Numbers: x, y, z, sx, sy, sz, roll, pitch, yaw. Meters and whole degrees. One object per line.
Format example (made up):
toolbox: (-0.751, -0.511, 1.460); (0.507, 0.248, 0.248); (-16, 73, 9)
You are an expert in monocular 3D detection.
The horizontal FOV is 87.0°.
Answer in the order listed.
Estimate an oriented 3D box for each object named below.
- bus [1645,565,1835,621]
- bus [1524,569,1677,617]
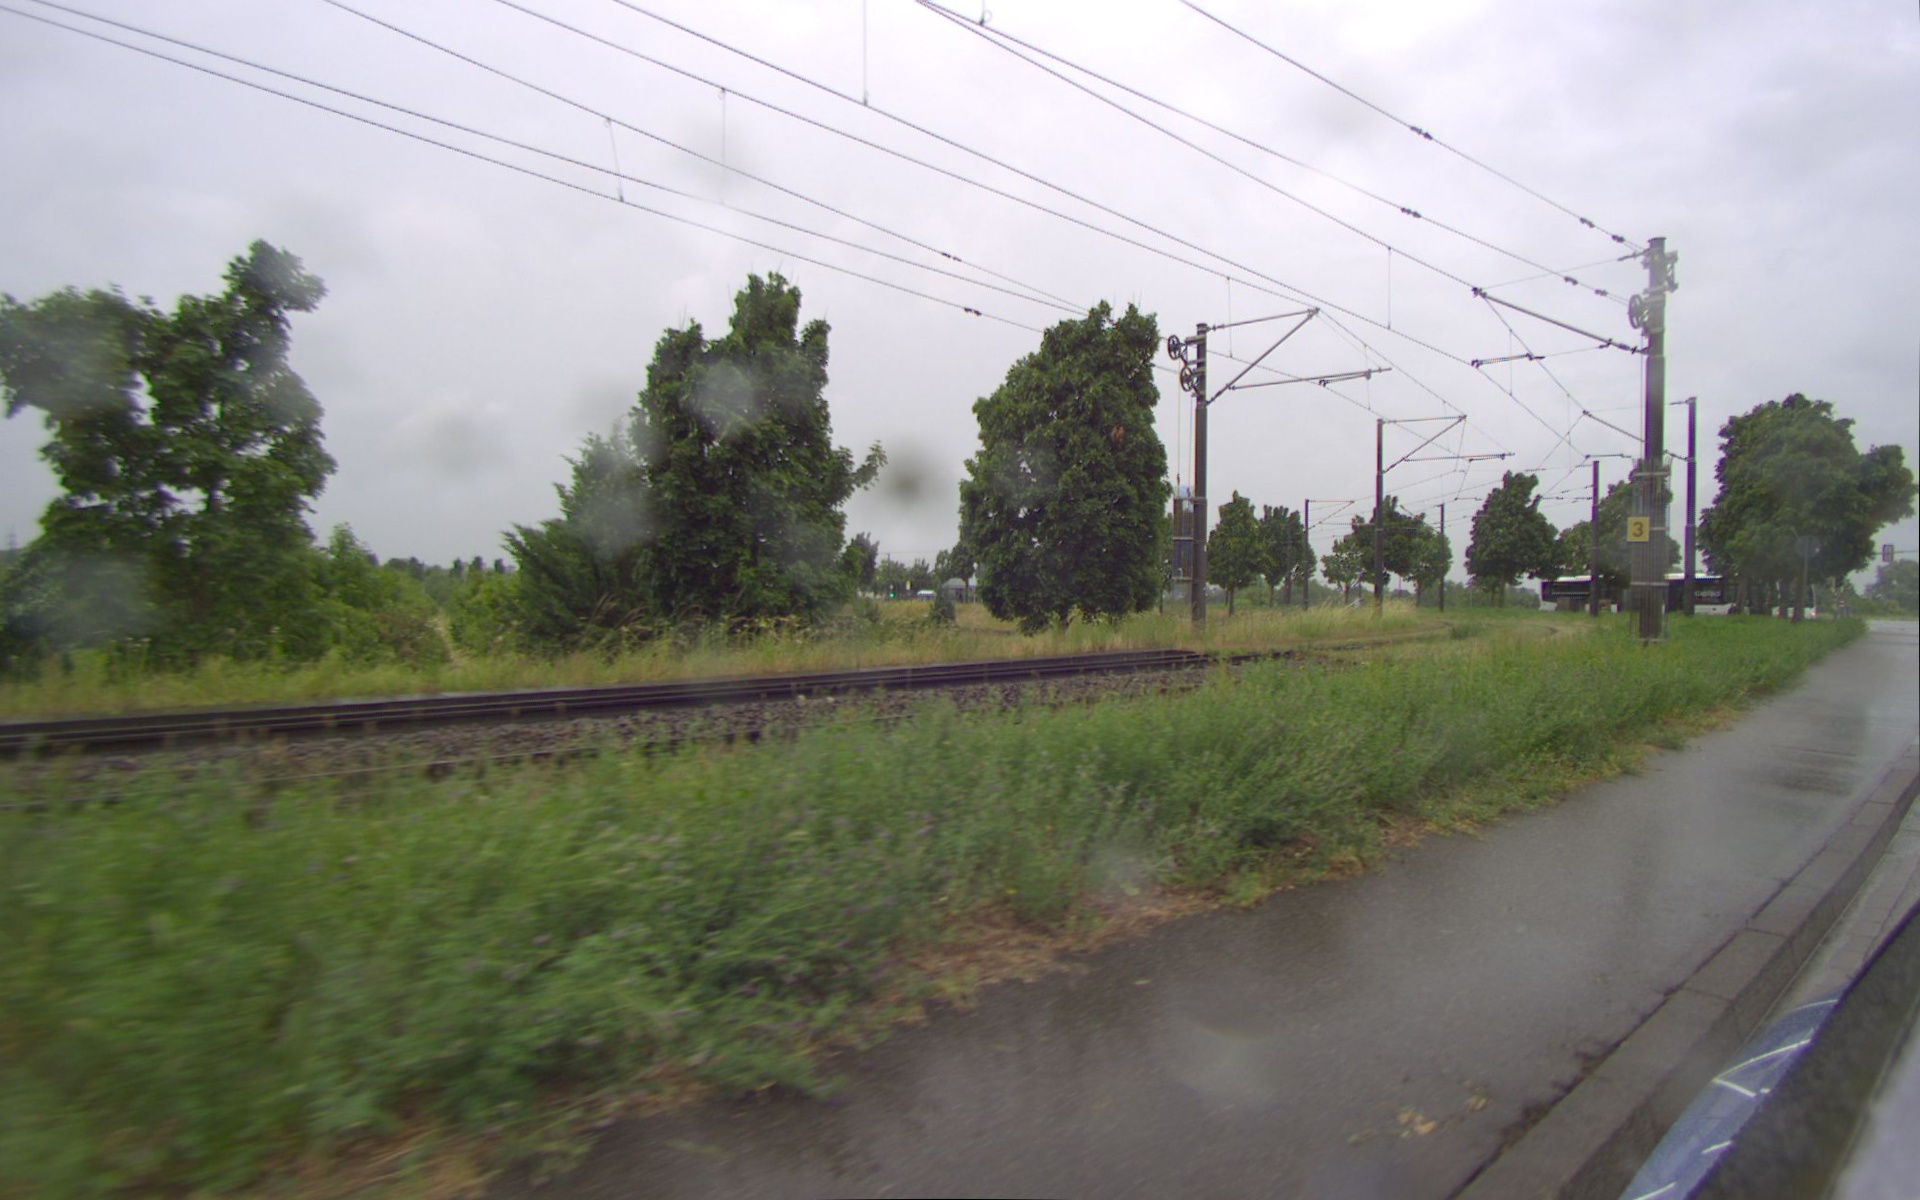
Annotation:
bus: (46.475, -0.439, 60.892); (2.624, 3.116, 10.009); (0, 0, -8)
bus: (44.511, -0.533, 70.823); (2.622, 3.116, 10.015); (0, 0, -14)
